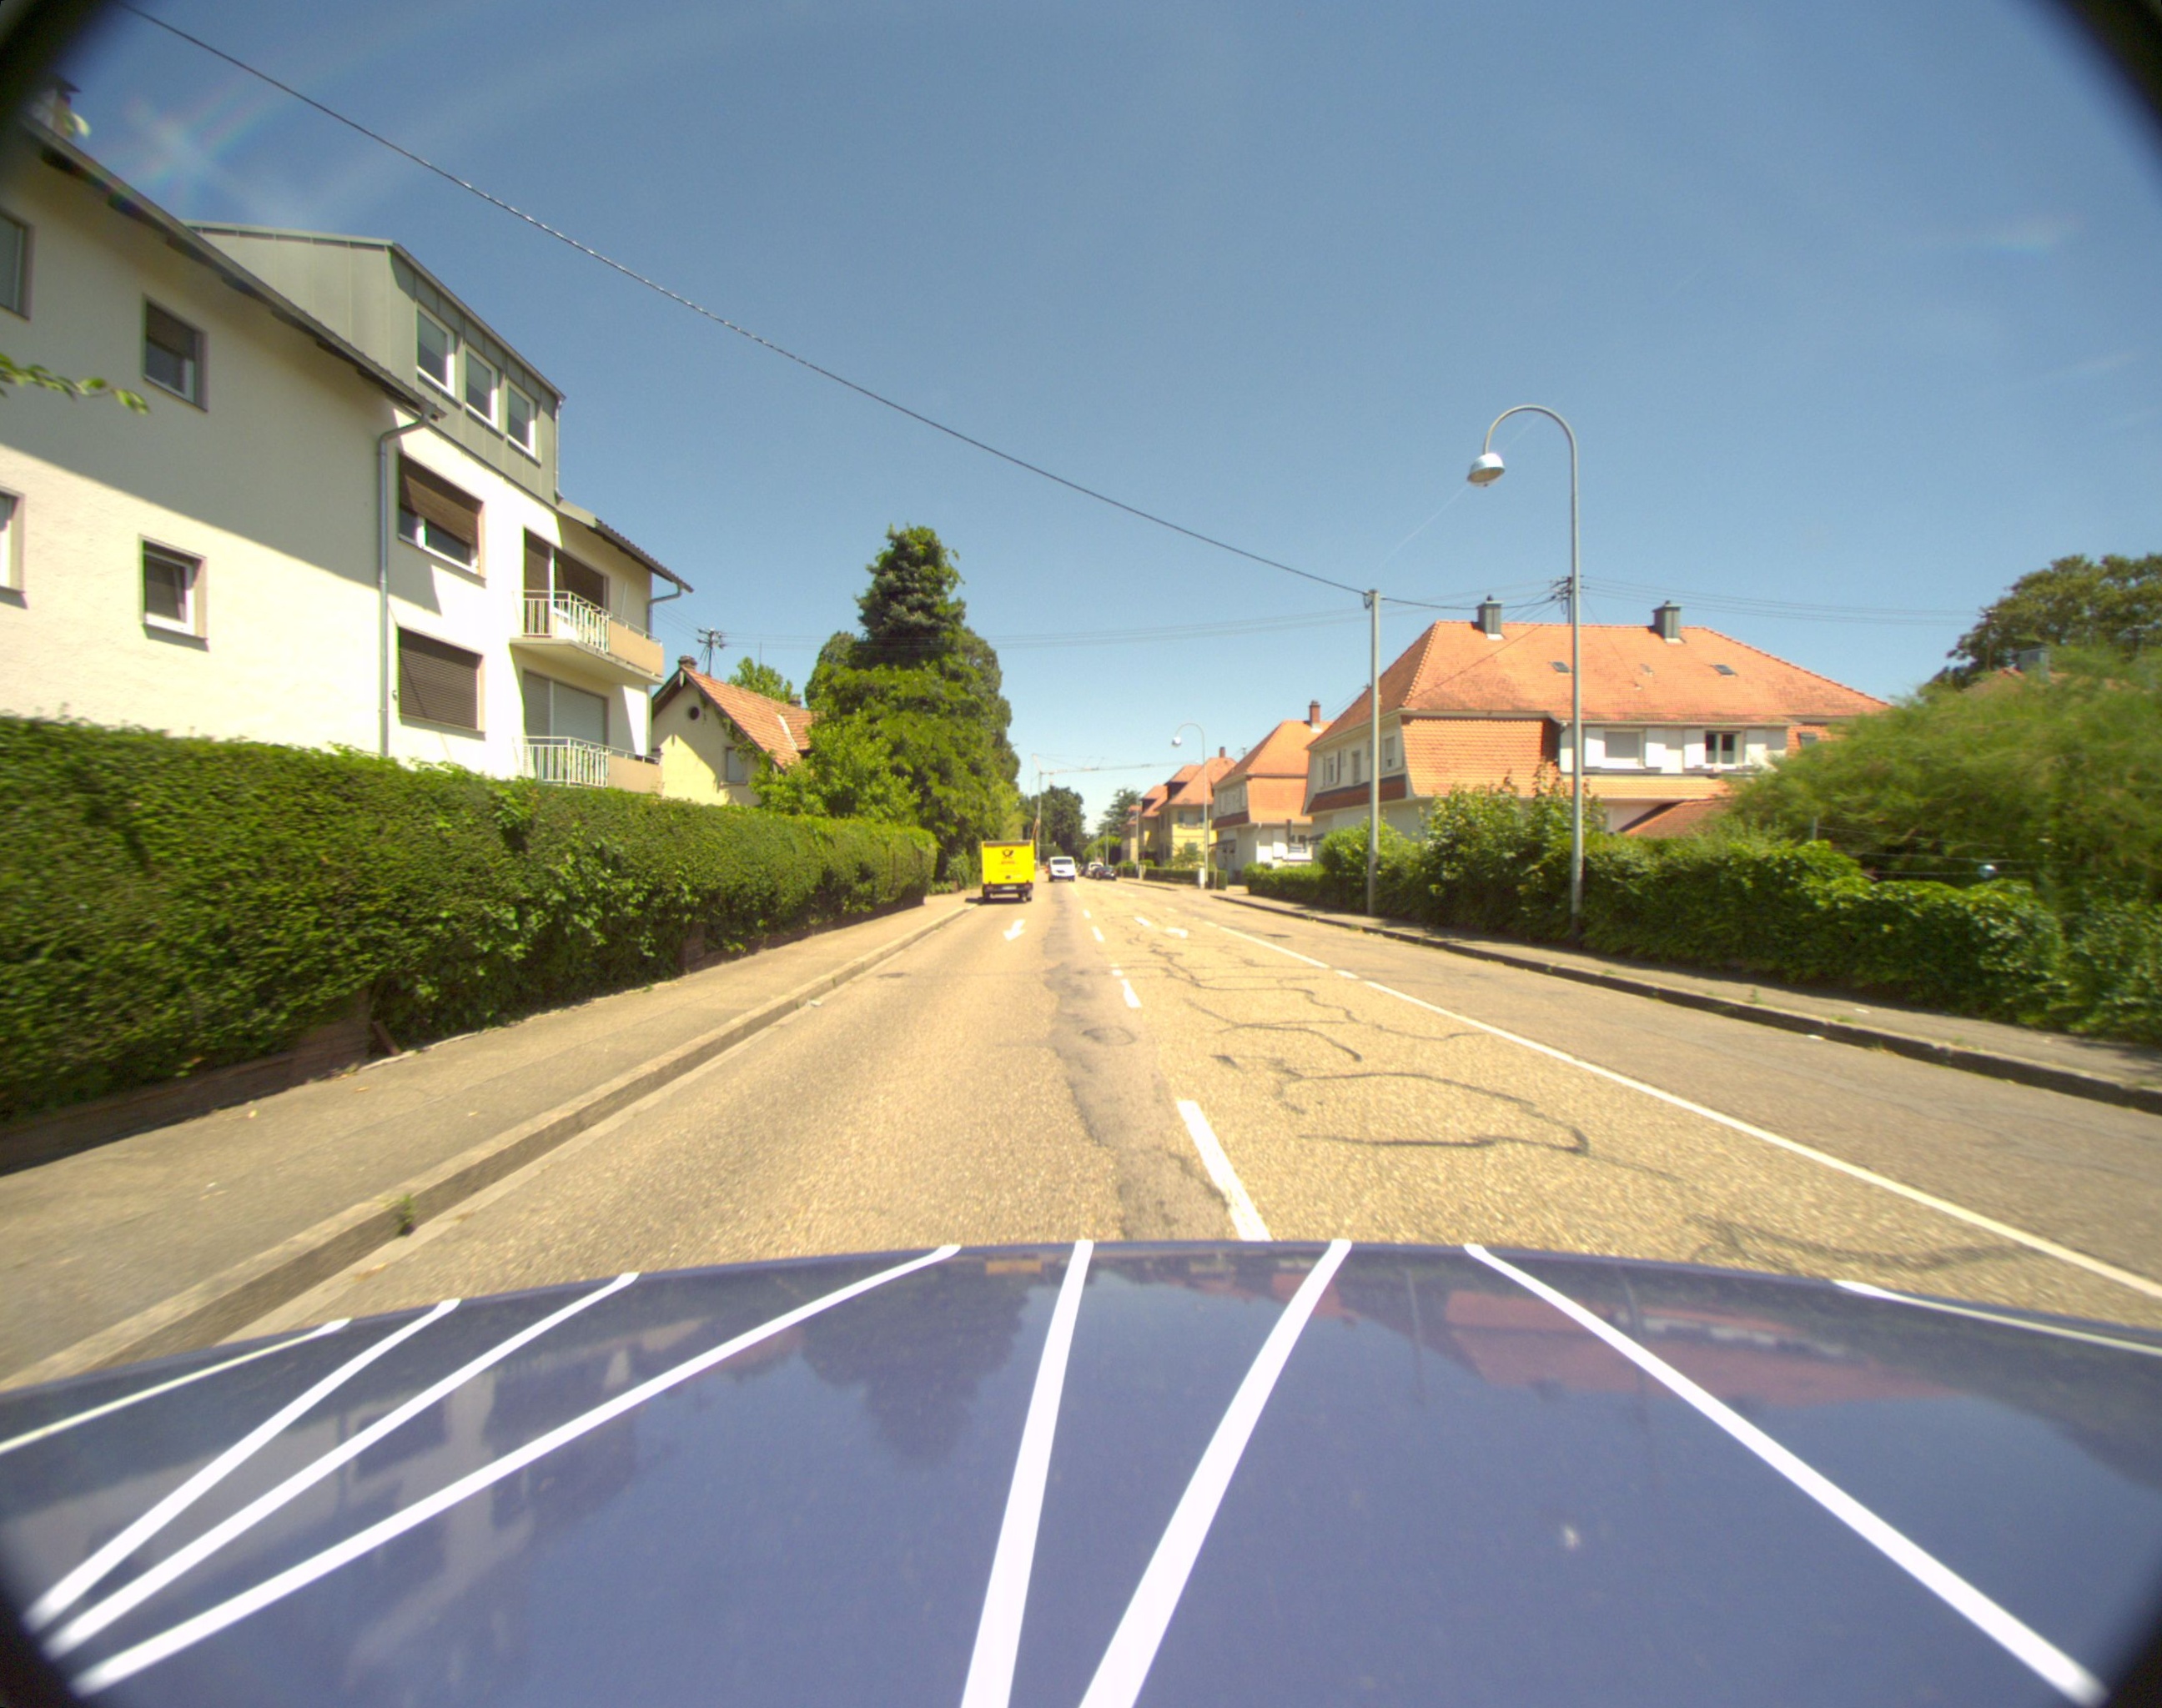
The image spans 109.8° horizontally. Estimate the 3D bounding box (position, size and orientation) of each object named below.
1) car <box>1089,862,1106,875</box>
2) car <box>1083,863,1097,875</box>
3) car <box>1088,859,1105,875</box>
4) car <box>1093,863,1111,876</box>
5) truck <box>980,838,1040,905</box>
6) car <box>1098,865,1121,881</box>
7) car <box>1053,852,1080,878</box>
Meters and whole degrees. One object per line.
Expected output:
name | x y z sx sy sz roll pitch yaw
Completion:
car | 1.899 1.706 87.467 1.754 1.427 4.000 1 -1 -1
car | 1.334 2.188 112.833 1.998 1.674 4.001 -1 -1 1
car | 1.870 1.541 92.259 1.754 1.885 4.000 1 -1 -2
car | 2.277 1.677 82.192 1.753 1.389 4.000 1 -1 0
truck | -2.896 0.661 29.975 2.020 2.295 6.172 -3 0 -7
car | 2.703 1.798 72.797 1.754 1.389 3.999 2 -1 -2
car | -1.168 0.875 60.516 1.999 2.001 4.386 -1 -1 -1
